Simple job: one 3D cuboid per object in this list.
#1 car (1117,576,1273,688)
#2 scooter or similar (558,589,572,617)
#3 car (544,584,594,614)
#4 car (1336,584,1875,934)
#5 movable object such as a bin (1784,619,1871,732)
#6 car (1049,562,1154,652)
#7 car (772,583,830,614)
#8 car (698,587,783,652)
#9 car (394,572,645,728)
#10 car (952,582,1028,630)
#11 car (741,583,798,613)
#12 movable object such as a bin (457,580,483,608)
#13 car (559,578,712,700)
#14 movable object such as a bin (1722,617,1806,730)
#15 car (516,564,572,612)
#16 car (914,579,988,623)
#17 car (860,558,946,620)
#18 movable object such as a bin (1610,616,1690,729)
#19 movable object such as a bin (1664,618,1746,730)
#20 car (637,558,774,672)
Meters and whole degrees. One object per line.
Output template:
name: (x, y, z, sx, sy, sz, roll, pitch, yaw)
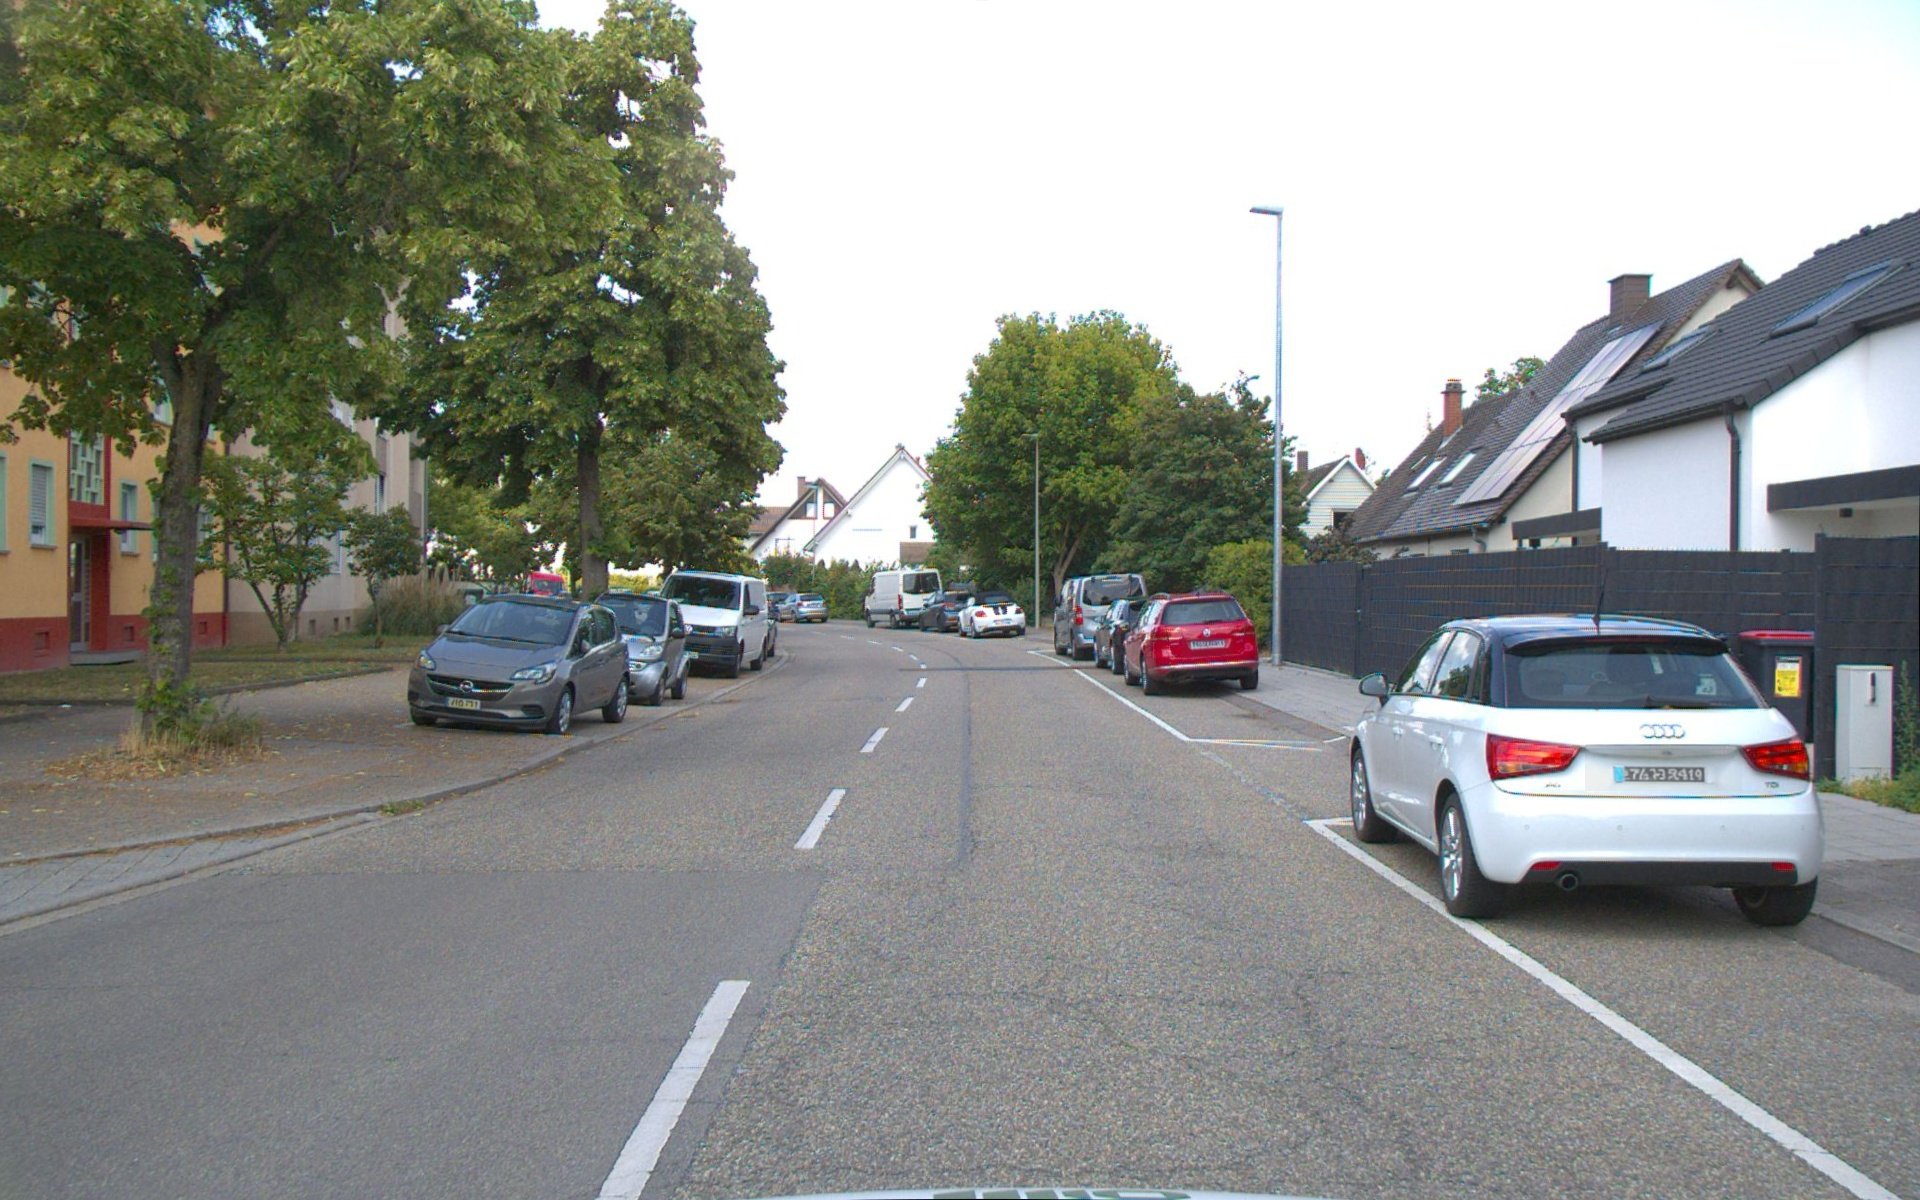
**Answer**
car: (3.664, 0.451, 26.562, 1.812, 1.607, 4.732, 1, 0, 0)
scooter or similar: (-17.159, 0.112, 71.855, 0.413, 1.186, 1.133, 2, 0, -21)
car: (-21.486, -0.074, 90.770, 1.764, 1.483, 4.402, 5, -2, -24)
car: (3.265, 0.687, 9.159, 1.685, 1.512, 3.750, 1, 0, 3)
movable object such as a bin: (8.394, 0.718, 16.012, 0.505, 1.057, 0.630, 1, 0, 0)
car: (3.324, 0.142, 39.674, 1.806, 1.978, 4.873, -2, 0, -3)
car: (-7.990, -0.092, 82.813, 1.713, 1.483, 4.334, 1, 0, -23)
car: (-5.455, 0.458, 41.465, 1.725, 1.515, 4.502, 1, 0, -3)
car: (-4.947, 0.558, 19.145, 1.649, 1.512, 3.984, 3, -1, 1)
car: (0.958, 0.167, 56.046, 1.709, 1.539, 4.447, 1, 0, -11)
car: (-10.183, -0.121, 88.128, 1.715, 1.535, 4.440, 1, 0, -25)
movable object such as a bin: (-23.800, -0.287, 80.304, 1.172, 1.296, 0.875, 0, 4, -14)
car: (-4.855, 0.530, 25.210, 1.487, 1.576, 3.755, 6, 1, -1)
movable object such as a bin: (7.807, 0.704, 16.075, 0.505, 1.057, 0.630, 1, 0, 0)
car: (-24.355, -0.711, 96.616, 2.037, 2.544, 5.797, 5, -1, -24)
car: (-0.379, 0.023, 62.988, 1.690, 1.613, 4.104, 1, 0, -17)
car: (-2.441, -0.465, 69.074, 2.084, 2.483, 5.865, 1, 0, -17)
movable object such as a bin: (6.692, 0.695, 16.054, 0.505, 1.057, 0.630, 1, 0, 0)
movable object such as a bin: (7.227, 0.709, 16.063, 0.505, 1.057, 0.630, 1, 0, 0)
car: (-5.019, 0.258, 33.294, 1.841, 2.044, 5.322, 2, 1, 0)
